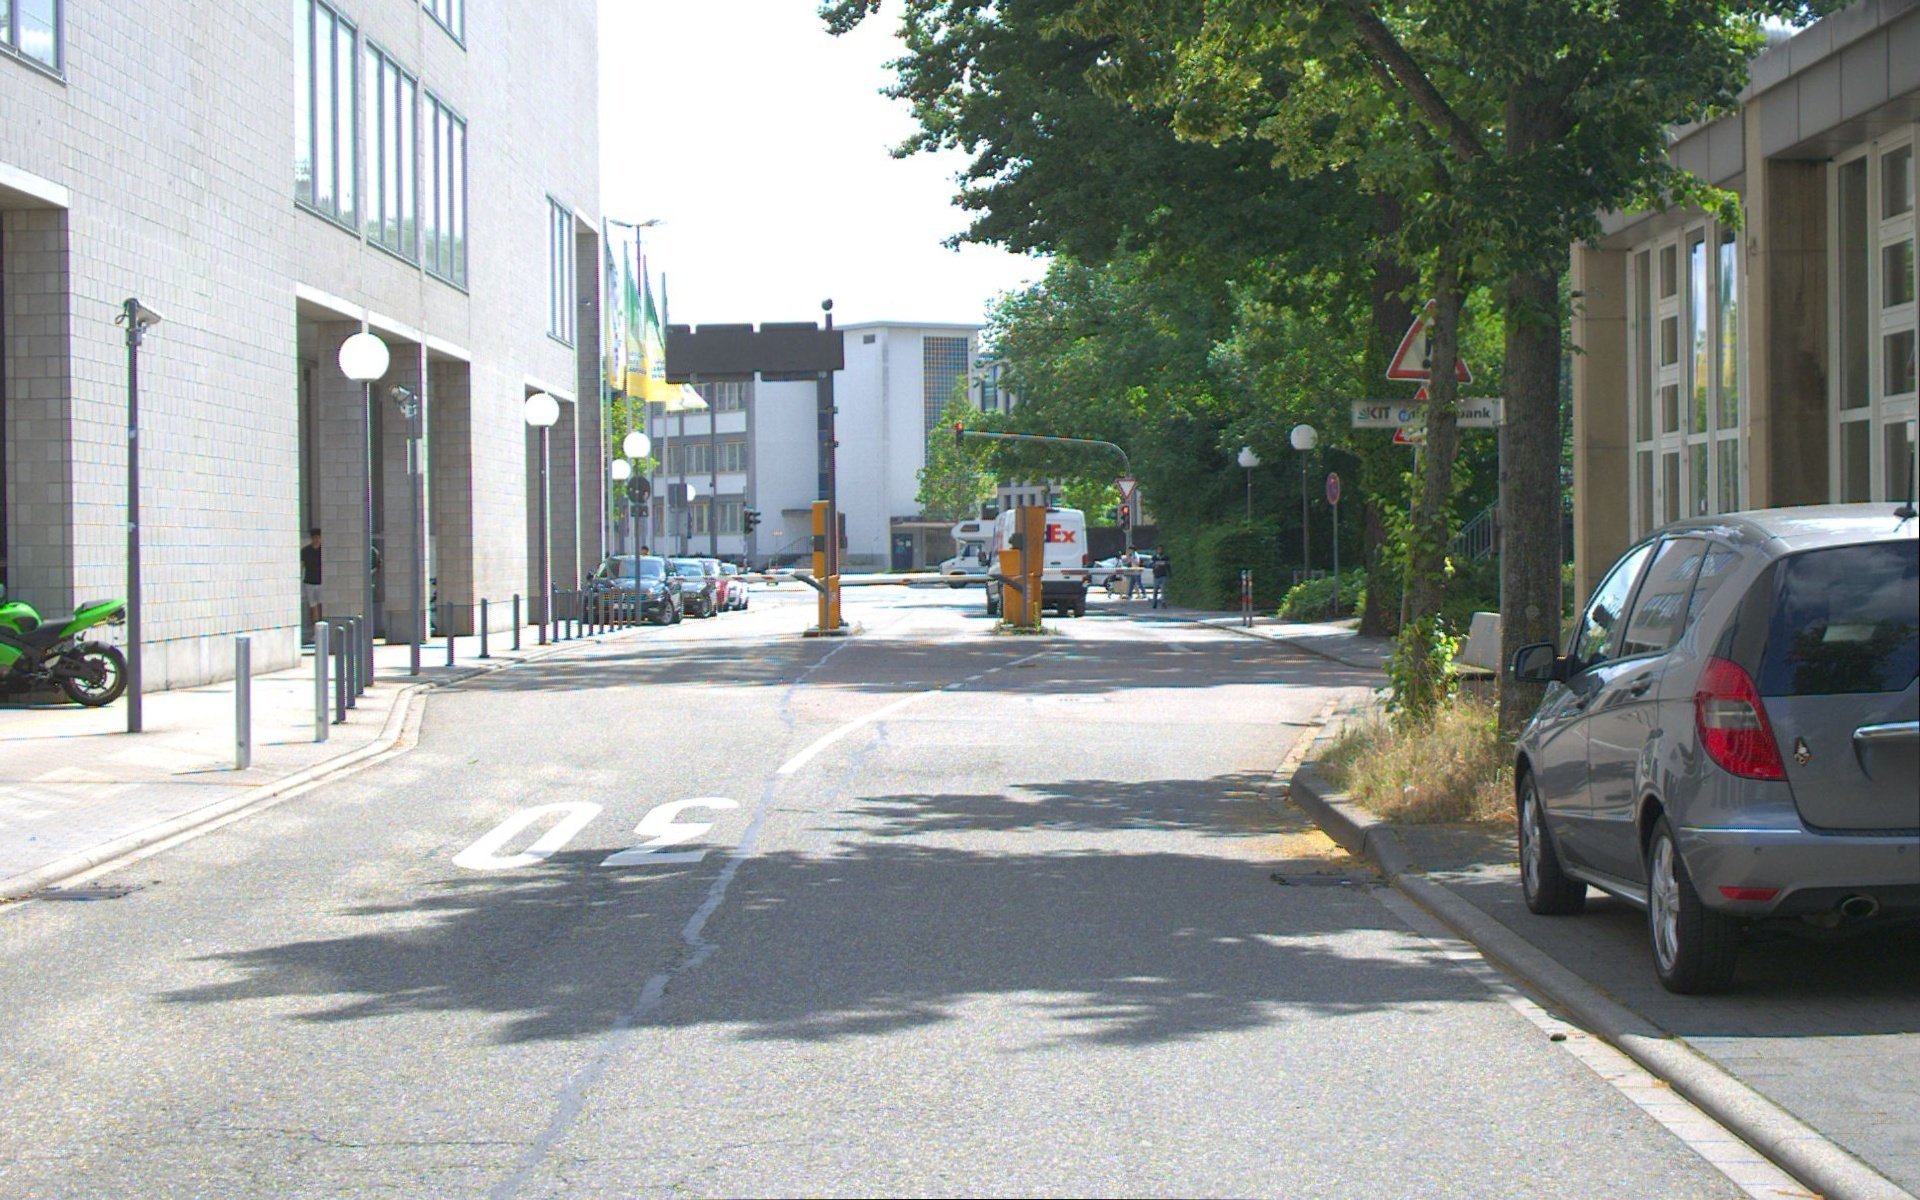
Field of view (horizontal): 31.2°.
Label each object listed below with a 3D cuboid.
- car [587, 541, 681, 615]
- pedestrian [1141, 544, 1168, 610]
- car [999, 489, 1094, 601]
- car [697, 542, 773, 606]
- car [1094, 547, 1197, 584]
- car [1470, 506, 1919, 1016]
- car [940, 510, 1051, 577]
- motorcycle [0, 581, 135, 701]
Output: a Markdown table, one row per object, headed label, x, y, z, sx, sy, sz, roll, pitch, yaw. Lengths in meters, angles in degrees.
| label | x | y | z | sx | sy | sz | roll | pitch | yaw |
| --- | --- | --- | --- | --- | --- | --- | --- | --- | --- |
| car | -6.934 | -0.448 | 73.321 | 1.646 | 1.493 | 3.728 | -1 | -1 | 0 |
| pedestrian | 5.079 | -0.613 | 89.850 | 0.660 | 1.723 | 0.635 | 0 | 1 | -1 |
| car | 2.015 | -1.301 | 81.259 | 2.083 | 2.531 | 4.316 | 1 | 1 | 0 |
| car | -5.567 | -0.631 | 85.373 | 1.646 | 1.493 | 3.728 | -1 | -1 | 0 |
| car | 6.733 | -1.251 | 124.774 | 3.730 | 1.325 | 1.667 | 0 | 1 | 3 |
| car | 3.109 | 0.459 | 12.687 | 1.858 | 1.568 | 4.000 | -1 | 1 | 1 |
| car | 1.446 | -2.316 | 140.504 | 4.372 | 2.730 | 2.000 | 0 | 1 | -4 |
| motorcycle | -8.704 | 0.378 | 32.179 | 1.851 | 1.101 | 0.661 | 0 | 1 | -20 |
